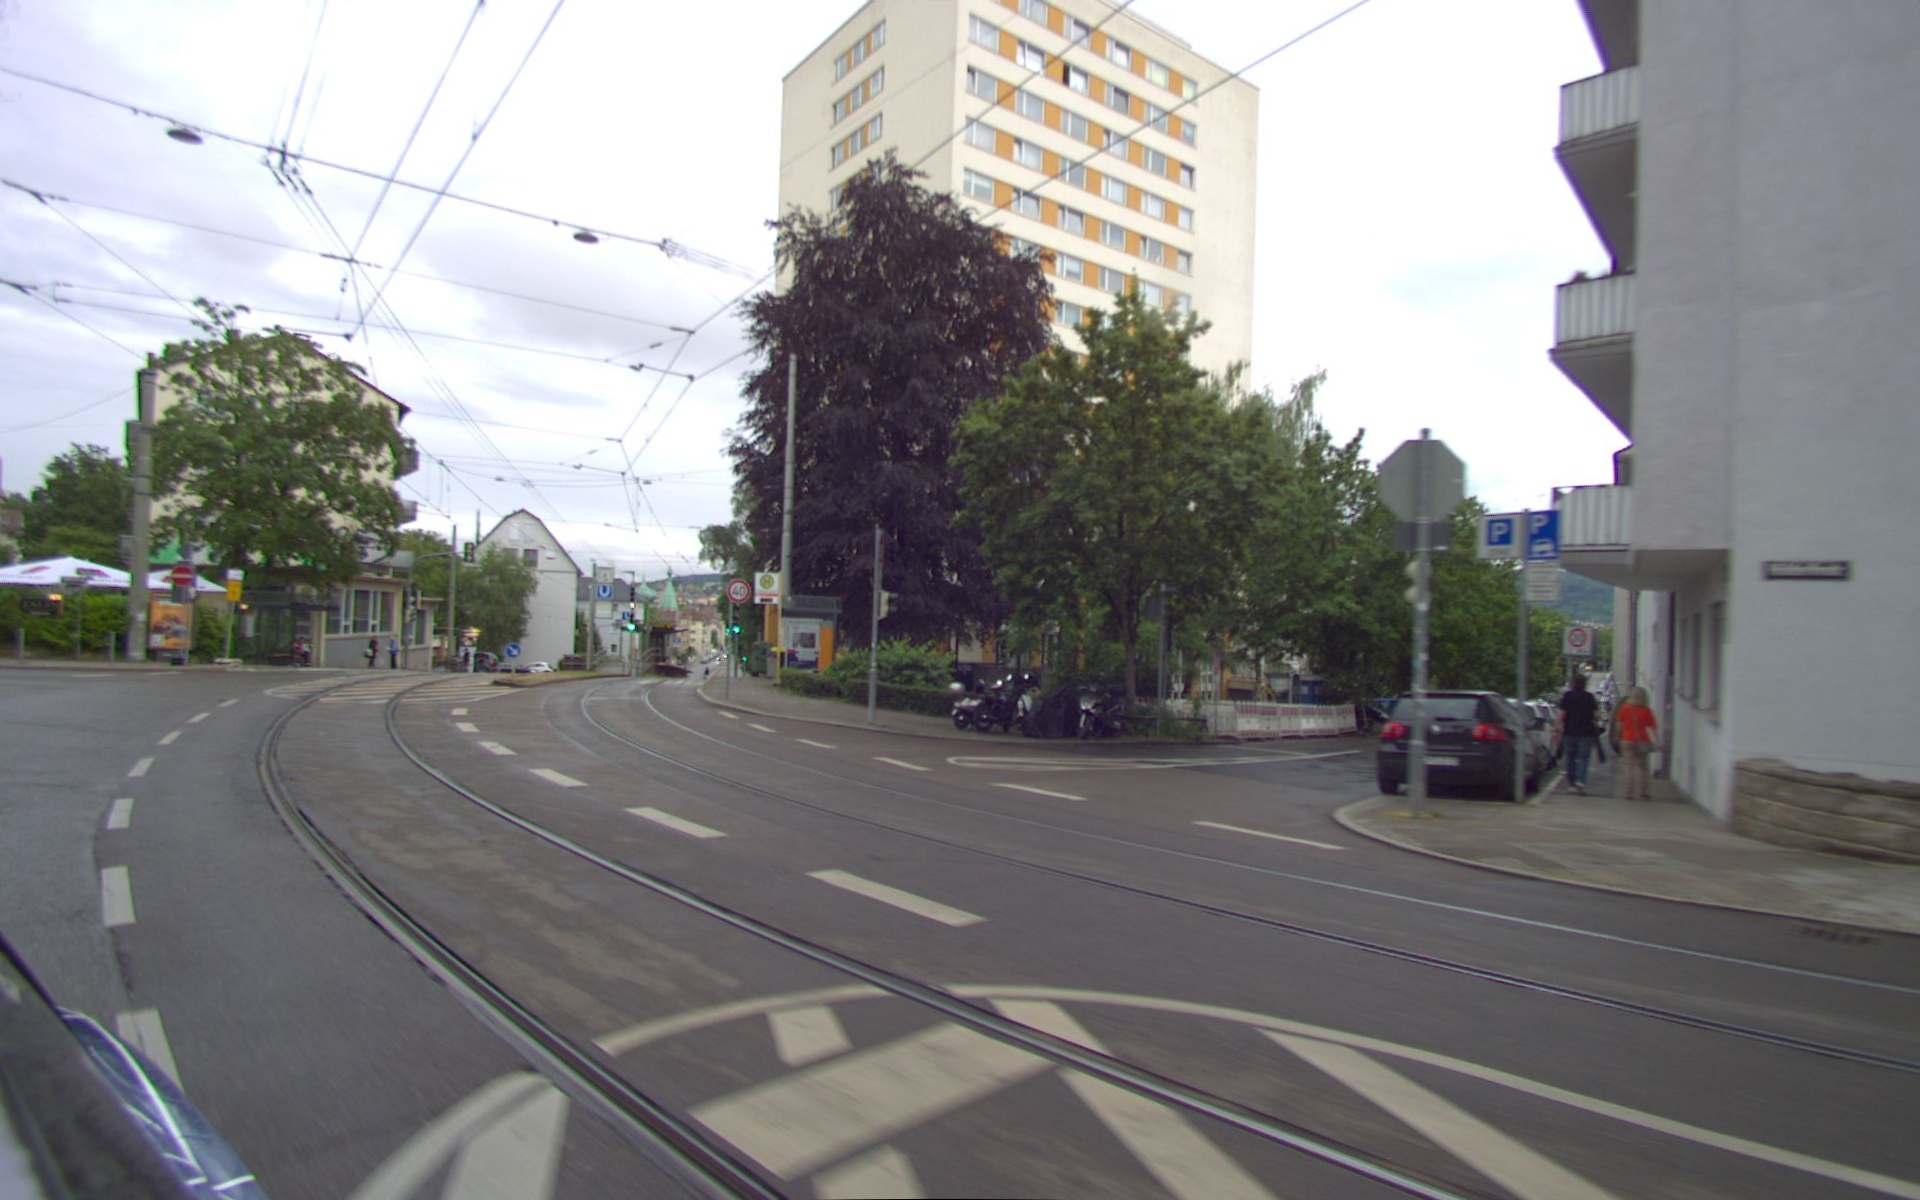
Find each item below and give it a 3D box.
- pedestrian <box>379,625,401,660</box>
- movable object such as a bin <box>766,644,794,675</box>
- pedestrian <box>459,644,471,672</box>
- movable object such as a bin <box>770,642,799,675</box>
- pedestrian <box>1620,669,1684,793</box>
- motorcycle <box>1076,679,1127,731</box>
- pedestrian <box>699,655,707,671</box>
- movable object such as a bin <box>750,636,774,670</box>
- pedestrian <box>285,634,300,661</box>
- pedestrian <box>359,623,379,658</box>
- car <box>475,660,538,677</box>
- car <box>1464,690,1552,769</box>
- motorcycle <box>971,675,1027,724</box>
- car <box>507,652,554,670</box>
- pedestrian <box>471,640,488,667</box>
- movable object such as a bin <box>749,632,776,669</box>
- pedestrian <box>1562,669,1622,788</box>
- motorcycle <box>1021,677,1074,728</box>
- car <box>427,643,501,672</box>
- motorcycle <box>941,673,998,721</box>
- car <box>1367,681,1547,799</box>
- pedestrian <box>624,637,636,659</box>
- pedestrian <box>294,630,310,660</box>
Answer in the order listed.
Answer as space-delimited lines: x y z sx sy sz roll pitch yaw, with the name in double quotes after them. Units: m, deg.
-26.471 1.984 47.021 0.580 1.566 0.651 4 -5 -12 "pedestrian"
-6.887 2.280 38.722 1.007 1.147 1.345 0 -4 -10 "movable object such as a bin"
-31.305 3.659 63.982 0.571 1.727 0.615 1 -4 -16 "pedestrian"
-6.393 2.131 36.842 1.007 1.147 1.345 0 -4 -10 "movable object such as a bin"
10.004 1.865 14.658 0.671 1.713 0.737 -3 -5 33 "pedestrian"
3.143 2.282 22.277 0.482 1.057 2.105 -2 -4 25 "motorcycle"
-27.535 6.761 108.566 0.743 1.606 0.618 0 -4 -9 "pedestrian"
-8.542 2.306 43.728 1.007 1.445 1.358 0 -4 -10 "movable object such as a bin"
-26.244 1.868 39.786 0.320 1.002 0.318 5 -5 -15 "pedestrian"
-27.300 1.889 46.782 0.538 1.566 0.560 4 -5 -14 "pedestrian"
-40.947 6.205 91.517 4.866 1.448 1.979 0 -3 -11 "car"
12.455 2.847 22.928 1.613 1.452 3.710 1 -3 30 "car"
0.912 2.261 23.328 0.482 1.057 2.105 -2 -4 25 "motorcycle"
-41.441 5.878 97.715 3.932 1.477 1.822 2 1 -16 "car"
-31.770 3.541 66.916 0.710 1.727 0.609 3 -5 -3 "pedestrian"
-7.858 2.029 40.294 1.007 1.445 1.430 0 -4 -10 "movable object such as a bin"
9.400 1.881 15.056 0.671 1.713 0.737 -3 -5 33 "pedestrian"
1.994 2.285 22.815 0.482 1.057 2.105 -2 -4 25 "motorcycle"
-35.618 4.147 72.759 4.273 1.687 1.784 5 -6 -10 "car"
0.249 2.246 23.674 0.482 1.057 2.105 -1 -4 26 "motorcycle"
7.475 1.938 14.997 1.850 1.466 4.204 -3 -5 33 "car"
-24.002 3.481 73.669 0.662 1.560 0.773 2 -5 -12 "pedestrian"
-26.167 1.798 40.242 0.320 1.159 0.318 5 -5 -15 "pedestrian"
